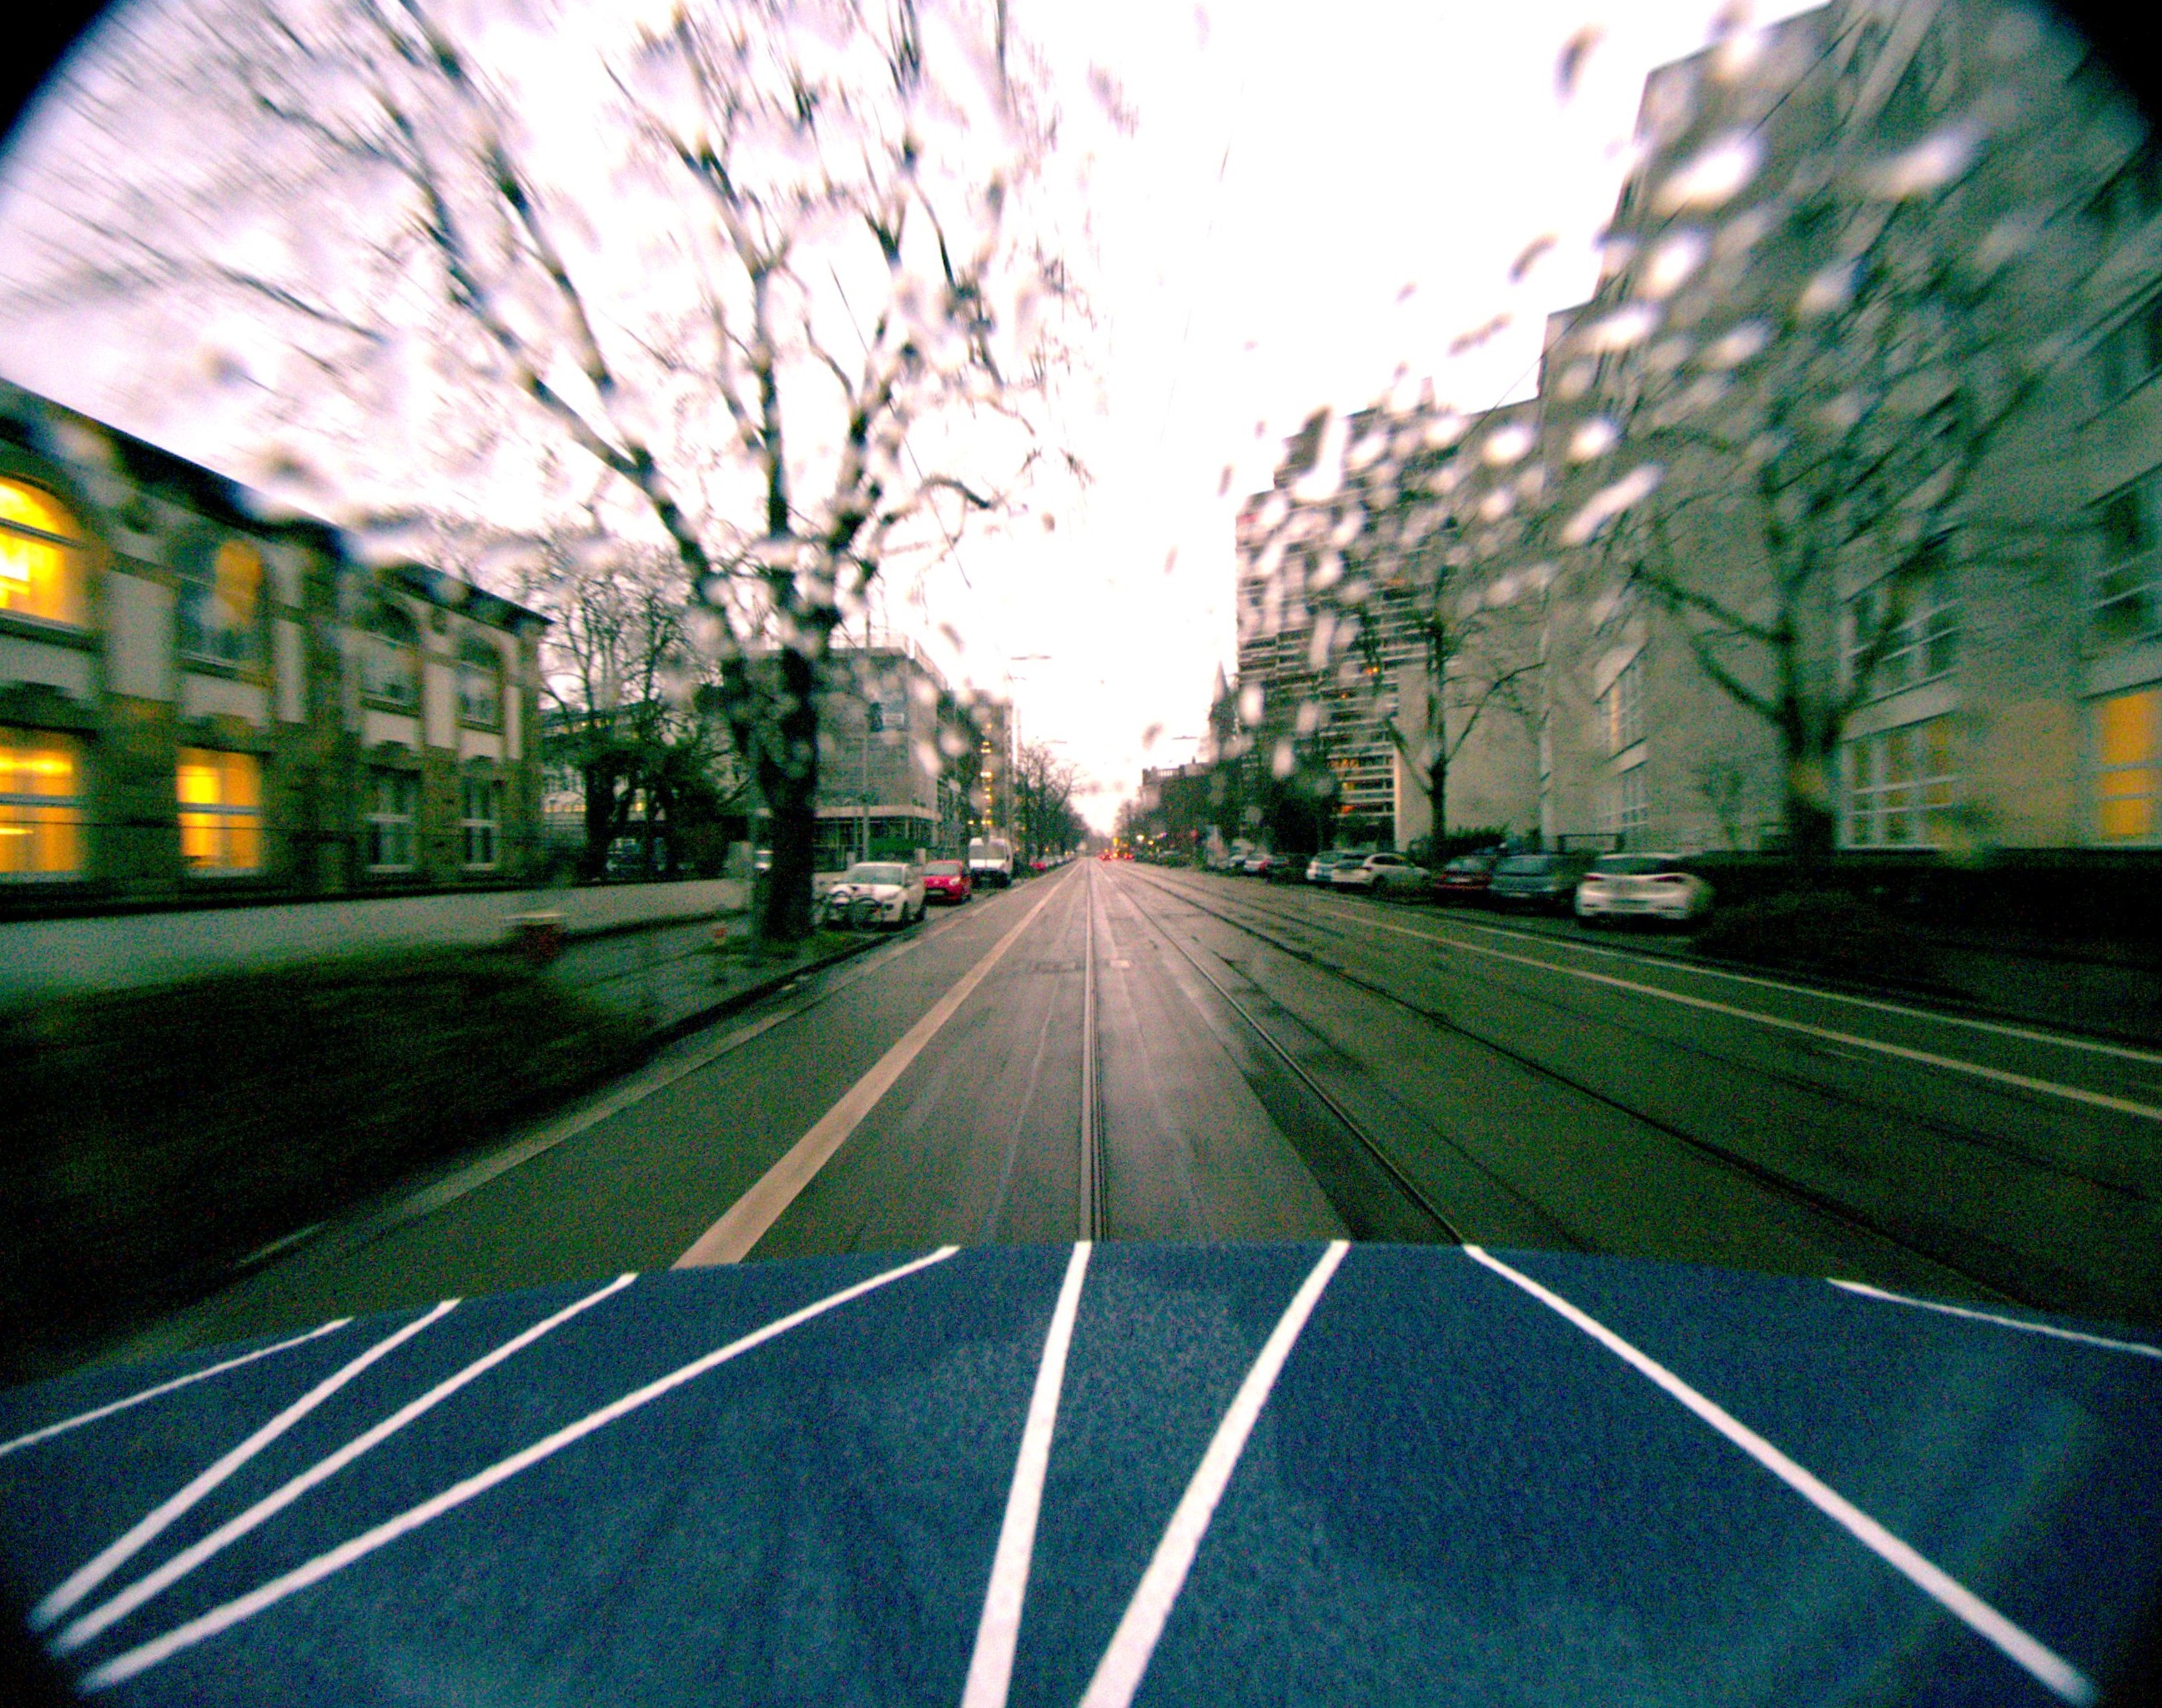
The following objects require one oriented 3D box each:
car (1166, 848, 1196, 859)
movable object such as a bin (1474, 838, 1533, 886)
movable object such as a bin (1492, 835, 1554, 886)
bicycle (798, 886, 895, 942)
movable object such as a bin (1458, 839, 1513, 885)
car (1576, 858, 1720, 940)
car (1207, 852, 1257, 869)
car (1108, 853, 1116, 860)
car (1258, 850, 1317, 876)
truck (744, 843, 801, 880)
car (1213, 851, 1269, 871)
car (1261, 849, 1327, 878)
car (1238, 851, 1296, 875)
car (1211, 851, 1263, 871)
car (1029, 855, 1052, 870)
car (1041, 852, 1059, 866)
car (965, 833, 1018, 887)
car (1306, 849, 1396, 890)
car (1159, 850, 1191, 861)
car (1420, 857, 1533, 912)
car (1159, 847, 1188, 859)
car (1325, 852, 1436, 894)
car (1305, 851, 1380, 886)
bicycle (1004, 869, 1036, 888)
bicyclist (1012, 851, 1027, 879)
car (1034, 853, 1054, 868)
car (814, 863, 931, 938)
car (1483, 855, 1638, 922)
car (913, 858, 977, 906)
[{"bbox_3d":[13.412,-0.101,102.112,3.995,1.477,1.673,0,0,7],"label":"car"},{"bbox_3d":[16.709,0.319,30.110,1.573,1.849,1.394,0,-1,2],"label":"movable object such as a bin"},{"bbox_3d":[16.671,0.253,28.730,1.573,1.849,1.318,0,-1,2],"label":"movable object such as a bin"},{"bbox_3d":[-4.635,1.176,15.090,1.717,1.064,0.663,0,0,1],"label":"bicycle"},{"bbox_3d":[16.740,0.347,31.509,1.573,1.849,1.318,0,-1,2],"label":"movable object such as a bin"},{"bbox_3d":[11.311,0.790,15.054,3.861,1.415,1.732,0,0,-45],"label":"car"},{"bbox_3d":[12.187,0.514,61.272,4.008,1.391,1.851,0,0,-41],"label":"car"},{"bbox_3d":[6.904,0.593,169.742,1.752,1.535,4.295,0,0,0],"label":"car"},{"bbox_3d":[12.245,0.529,45.039,3.458,1.484,1.725,0,0,-41],"label":"car"},{"bbox_3d":[-23.312,0.490,57.757,2.132,2.573,7.075,0,1,-6],"label":"truck"},{"bbox_3d":[11.464,0.484,54.211,4.008,1.370,1.851,0,0,-41],"label":"car"},{"bbox_3d":[11.642,0.493,41.450,3.862,1.484,1.691,0,0,-43],"label":"car"},{"bbox_3d":[11.790,0.550,48.028,1.788,1.438,4.009,0,0,45],"label":"car"},{"bbox_3d":[11.935,0.507,58.077,4.008,1.454,1.851,0,0,-41],"label":"car"},{"bbox_3d":[-3.807,0.766,71.674,1.753,1.379,3.737,0,0,2],"label":"car"},{"bbox_3d":[-3.693,0.574,91.461,1.866,1.584,4.001,0,0,3],"label":"car"},{"bbox_3d":[-4.397,0.293,38.129,2.130,2.472,5.438,0,0,-2],"label":"car"},{"bbox_3d":[11.127,0.601,31.156,4.008,1.554,1.732,0,0,-41],"label":"car"},{"bbox_3d":[12.185,0.193,98.662,3.995,1.477,1.673,0,0,7],"label":"car"},{"bbox_3d":[11.291,0.790,21.547,1.744,1.344,4.357,1,1,43],"label":"car"},{"bbox_3d":[12.791,-0.072,105.377,3.995,1.630,2.001,0,0,7],"label":"car"},{"bbox_3d":[11.000,0.643,27.850,4.007,1.435,1.732,0,1,-32],"label":"car"},{"bbox_3d":[12.098,0.638,35.093,3.885,1.542,1.688,0,0,-44],"label":"car"},{"bbox_3d":[-3.757,1.482,46.589,1.895,1.126,0.730,0,0,-13],"label":"bicycle"},{"bbox_3d":[-3.775,0.668,46.585,0.771,1.679,0.706,0,0,-13],"label":"bicyclist"},{"bbox_3d":[-3.914,0.706,80.626,1.753,1.575,3.737,0,0,2],"label":"car"},{"bbox_3d":[-4.667,0.974,17.519,1.696,1.511,3.637,0,0,0],"label":"car"},{"bbox_3d":[11.801,0.770,18.648,4.007,1.455,1.732,0,1,-34],"label":"car"},{"bbox_3d":[-4.650,0.914,26.342,1.647,1.514,3.572,-1,0,-2],"label":"car"}]
